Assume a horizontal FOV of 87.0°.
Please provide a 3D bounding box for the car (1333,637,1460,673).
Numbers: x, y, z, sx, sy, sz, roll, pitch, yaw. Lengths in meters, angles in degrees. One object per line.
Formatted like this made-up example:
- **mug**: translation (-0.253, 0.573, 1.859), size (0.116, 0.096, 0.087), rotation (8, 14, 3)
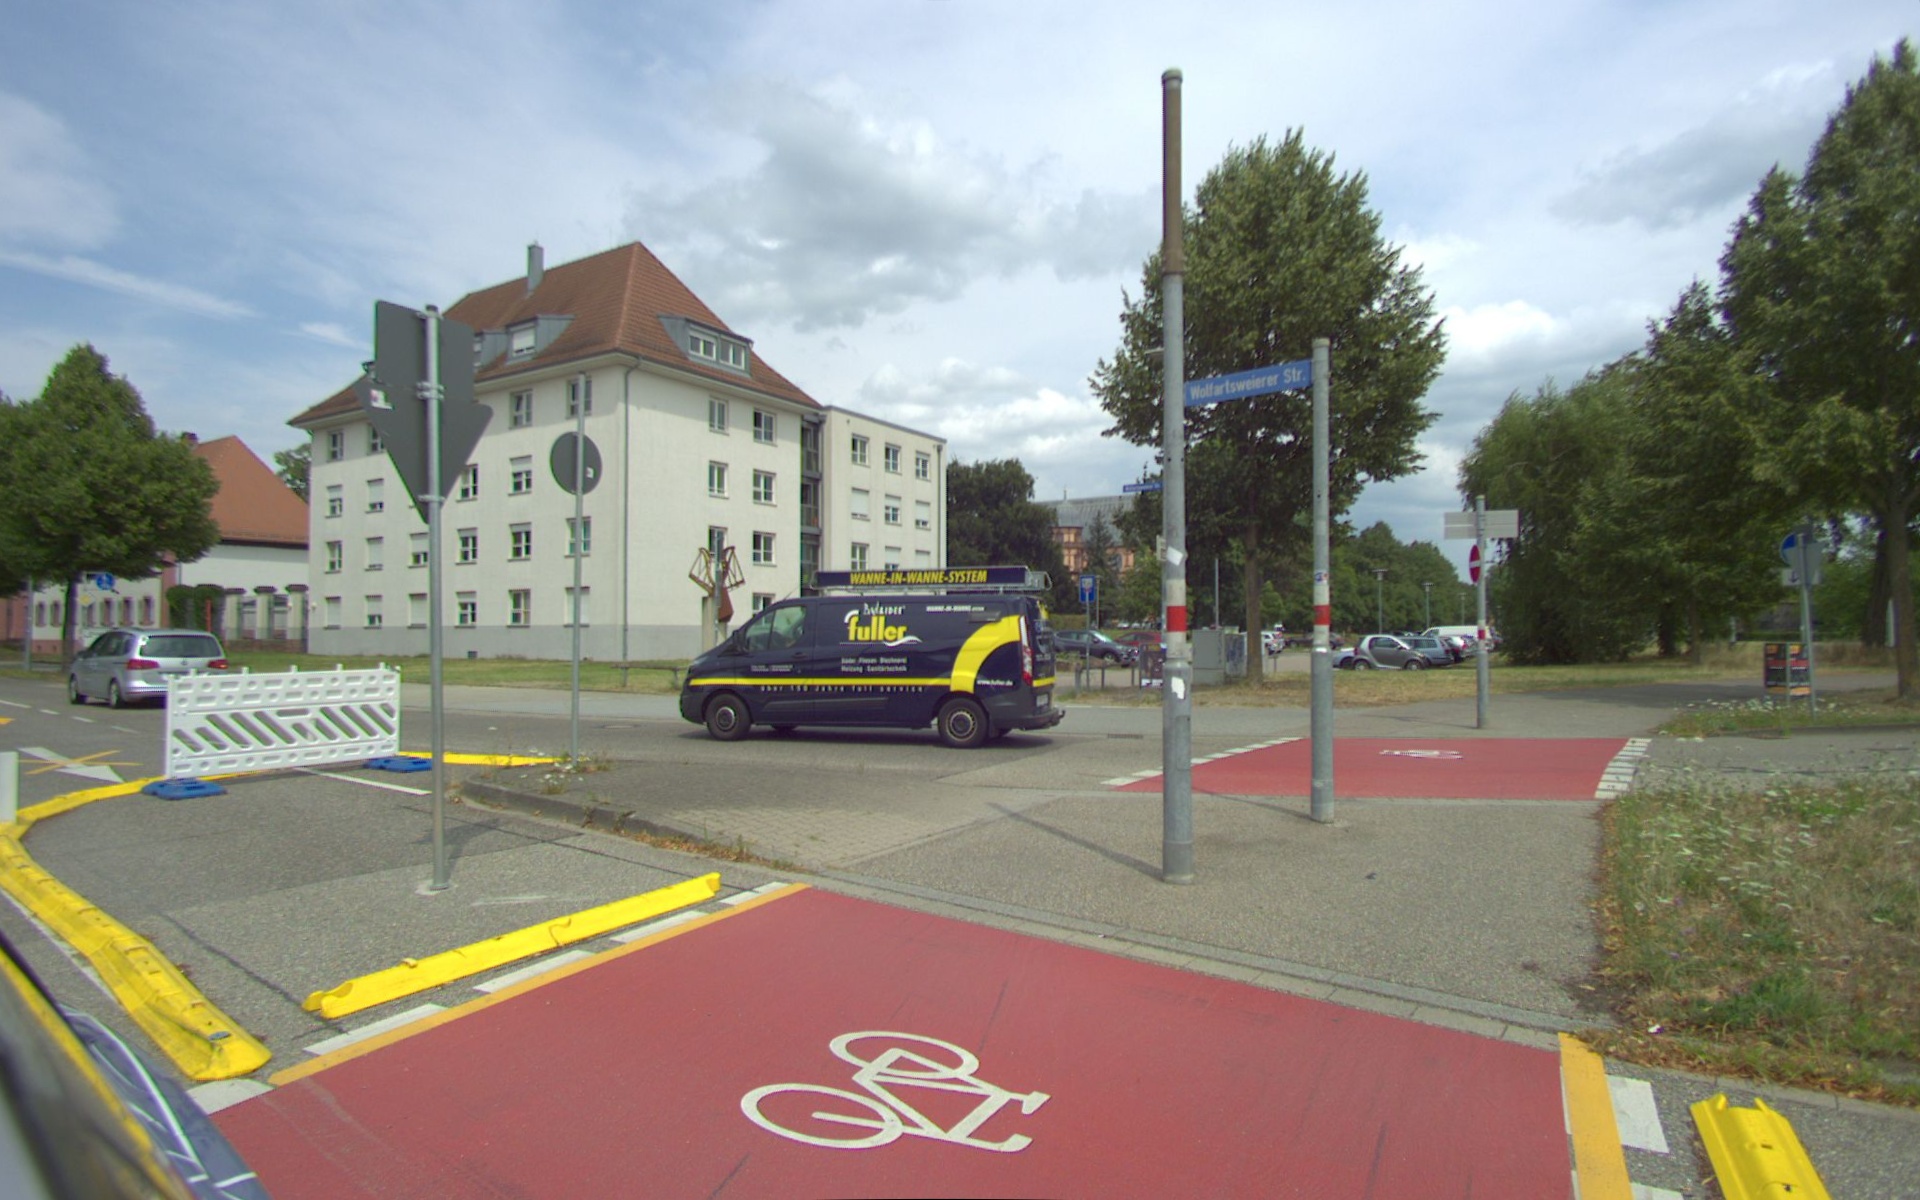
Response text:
- **car**: translation (18.992, 2.352, 44.151), size (4.873, 1.482, 1.813), rotation (-1, -2, 33)

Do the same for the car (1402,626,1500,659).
- **car**: translation (31.696, 2.725, 65.398), size (5.548, 2.072, 2.178), rotation (-1, -2, 30)

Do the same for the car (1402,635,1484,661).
- **car**: translation (29.146, 2.897, 61.086), size (4.298, 1.482, 1.813), rotation (-1, -2, 33)

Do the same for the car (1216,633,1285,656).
- **car**: translation (19.049, 2.896, 66.390), size (3.993, 1.479, 1.798), rotation (-1, -2, 31)

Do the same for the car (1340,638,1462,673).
- **car**: translation (20.116, 2.495, 46.248), size (4.873, 1.482, 1.813), rotation (-1, -2, 33)

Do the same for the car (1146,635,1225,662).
- **car**: translation (12.460, 2.662, 55.975), size (3.993, 1.479, 1.598), rotation (-1, -2, 31)

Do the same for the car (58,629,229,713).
- **car**: translation (-17.722, 1.481, 21.896), size (4.739, 1.635, 1.779), rotation (-2, -2, 37)

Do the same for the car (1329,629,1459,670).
- **car**: translation (17.831, 2.049, 41.656), size (4.687, 1.482, 1.815), rotation (-4, -3, 30)

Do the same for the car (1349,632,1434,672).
- **car**: translation (16.779, 2.045, 39.352), size (2.900, 1.434, 1.471), rotation (-4, -4, 26)

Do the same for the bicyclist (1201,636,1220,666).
- **bicyclist**: translation (12.169, 2.475, 49.084), size (0.601, 1.434, 0.793), rotation (-2, -3, 39)

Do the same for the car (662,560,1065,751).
- **car**: translation (-1.259, 0.735, 13.769), size (5.111, 2.290, 1.990), rotation (-1, -2, 15)

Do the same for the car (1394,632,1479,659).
- **car**: translation (27.739, 2.634, 58.908), size (4.298, 1.482, 1.813), rotation (-1, -2, 33)

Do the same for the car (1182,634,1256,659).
- **car**: translation (15.622, 2.779, 61.013), size (3.993, 1.479, 1.798), rotation (-1, -2, 31)

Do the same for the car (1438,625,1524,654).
- **car**: translation (38.709, 2.907, 75.257), size (5.552, 2.072, 2.177), rotation (-1, -2, 33)

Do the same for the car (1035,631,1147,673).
- **car**: translation (5.750, 2.254, 44.517), size (4.484, 1.778, 1.979), rotation (-1, -2, 31)

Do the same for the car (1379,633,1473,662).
- **car**: translation (25.080, 2.551, 54.494), size (4.373, 1.482, 1.813), rotation (-1, -2, 33)

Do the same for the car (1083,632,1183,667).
- **car**: translation (8.403, 2.377, 49.273), size (4.394, 1.610, 1.977), rotation (-2, -2, 33)
